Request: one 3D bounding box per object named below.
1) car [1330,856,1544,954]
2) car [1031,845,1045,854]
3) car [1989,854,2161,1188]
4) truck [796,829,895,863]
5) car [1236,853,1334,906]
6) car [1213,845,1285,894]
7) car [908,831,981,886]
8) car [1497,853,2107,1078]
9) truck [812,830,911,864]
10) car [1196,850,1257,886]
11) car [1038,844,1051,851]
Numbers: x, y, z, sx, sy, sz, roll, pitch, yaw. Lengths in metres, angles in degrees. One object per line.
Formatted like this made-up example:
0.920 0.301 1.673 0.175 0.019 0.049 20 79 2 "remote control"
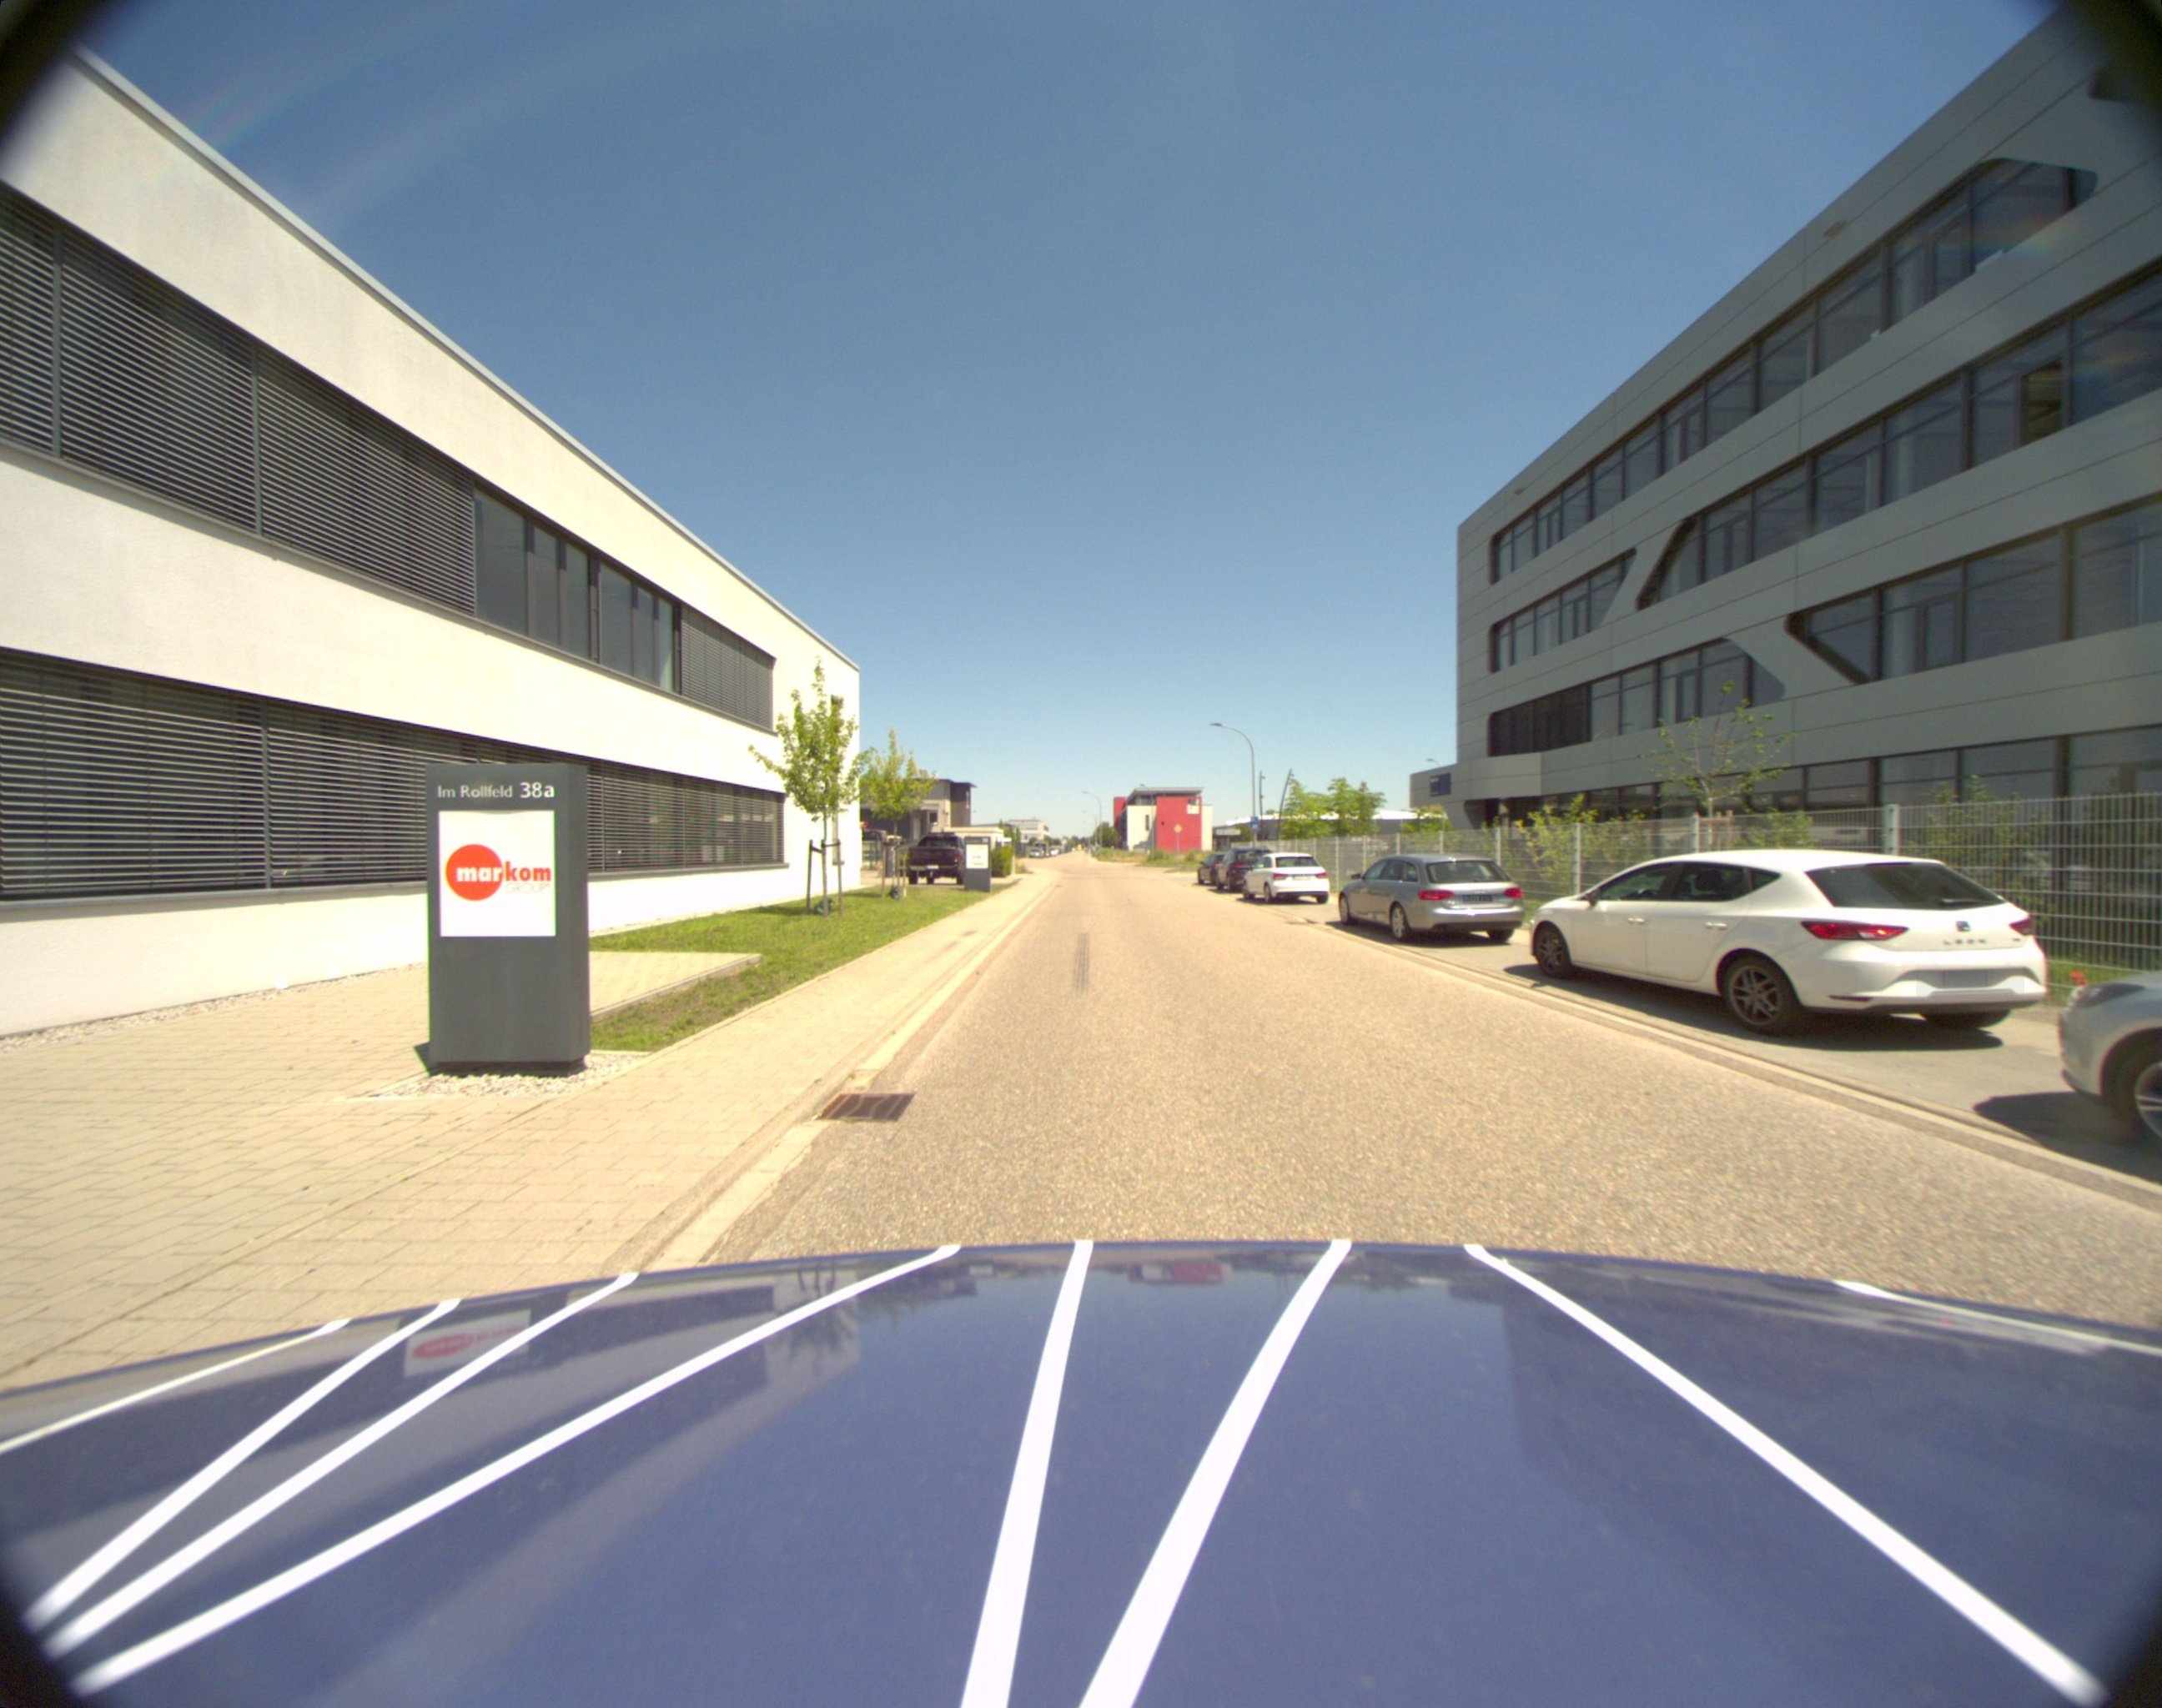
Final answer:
5.986 0.758 13.480 1.688 1.378 4.639 -1 0 1 "car"
-6.292 -0.725 111.679 1.828 1.269 3.885 0 1 1 "car"
5.899 0.797 1.933 1.707 1.527 4.571 -2 1 0 "car"
-23.321 -0.771 75.510 8.966 3.159 2.689 -1 1 1 "truck"
5.908 0.682 22.466 1.704 1.378 3.936 -1 0 -2 "car"
6.168 0.519 28.445 1.774 1.641 4.851 -1 0 2 "car"
-5.372 0.218 30.694 1.999 2.001 5.800 0 -1 -1 "car"
6.147 0.762 7.405 1.707 1.435 4.438 -2 1 0 "car"
-20.335 -0.648 70.758 8.354 3.005 2.624 -1 1 1 "truck"
6.388 0.579 33.857 1.774 1.458 4.185 -1 0 -2 "car"
-6.096 -1.096 127.951 1.828 1.269 3.885 0 1 1 "car"
